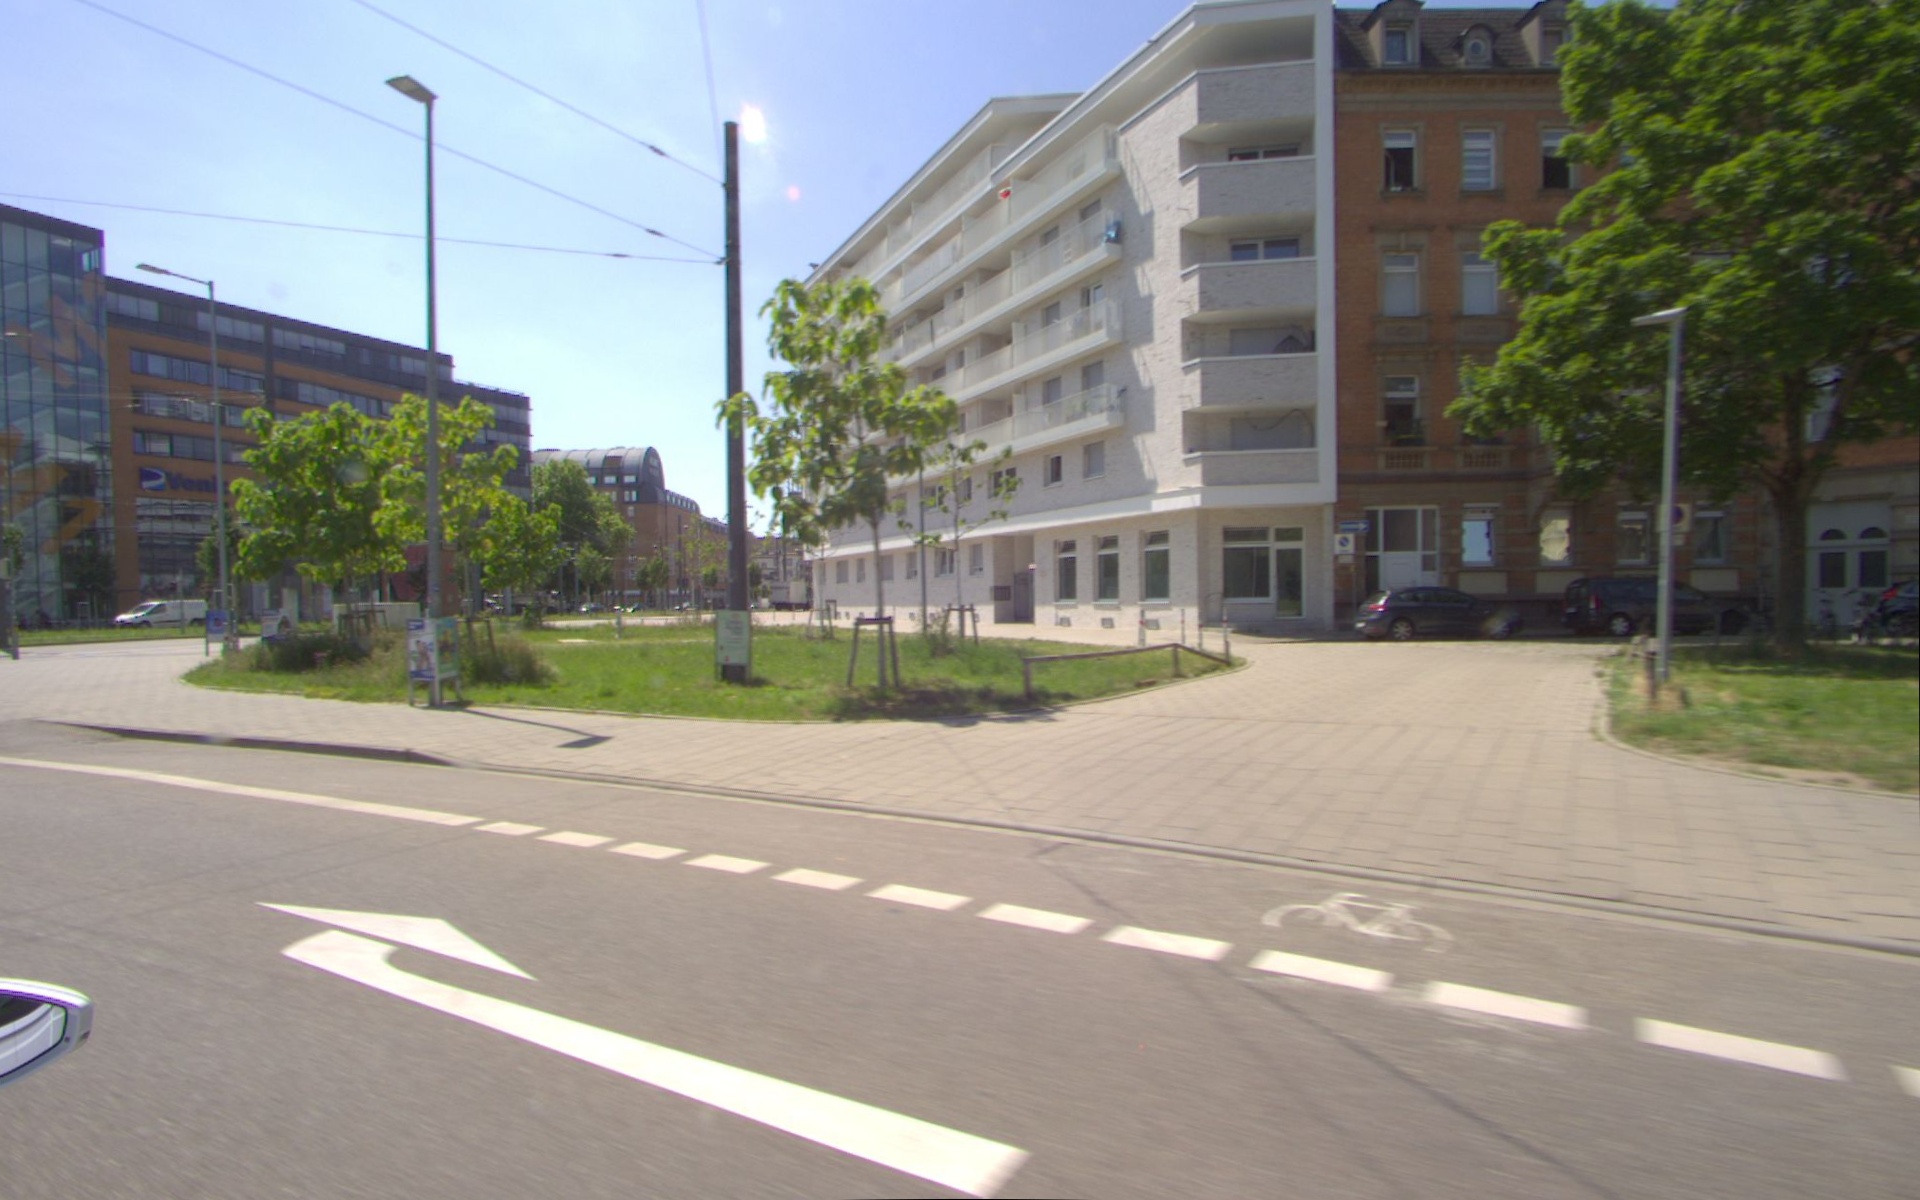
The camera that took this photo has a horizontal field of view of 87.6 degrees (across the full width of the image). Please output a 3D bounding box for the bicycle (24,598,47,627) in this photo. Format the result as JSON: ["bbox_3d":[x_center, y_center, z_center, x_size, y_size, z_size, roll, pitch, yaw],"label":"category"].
[{"bbox_3d":[-65.125,0.851,70.510,2.310,2.040,0.484,0,0,28],"label":"bicycle"}]

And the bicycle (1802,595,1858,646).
[{"bbox_3d":[16.776,0.390,19.345,0.501,0.948,2.040,1,0,32],"label":"bicycle"}]

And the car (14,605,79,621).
[{"bbox_3d":[-62.071,0.897,68.098,1.327,1.049,2.995,0,0,23],"label":"car"}]

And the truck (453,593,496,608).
[{"bbox_3d":[-70.185,0.075,144.785,5.275,2.040,1.882,0,0,1],"label":"truck"}]

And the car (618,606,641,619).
[{"bbox_3d":[-42.085,1.587,127.623,1.651,1.550,4.000,0,0,-2],"label":"car"}]

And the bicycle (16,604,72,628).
[{"bbox_3d":[-63.355,1.104,69.291,0.694,1.578,2.847,1,0,28],"label":"bicycle"}]

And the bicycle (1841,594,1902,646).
[{"bbox_3d":[17.327,0.375,19.075,0.501,0.948,2.040,1,0,32],"label":"bicycle"}]

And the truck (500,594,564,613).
[{"bbox_3d":[-65.387,0.556,153.052,9.060,2.846,2.000,0,0,5],"label":"truck"}]

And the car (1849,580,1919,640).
[{"bbox_3d":[24.116,0.248,23.887,1.751,1.439,3.982,1,0,-28],"label":"car"}]

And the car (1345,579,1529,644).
[{"bbox_3d":[12.572,0.297,26.596,4.050,1.646,1.695,0,0,3],"label":"car"}]

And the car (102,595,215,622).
[{"bbox_3d":[-51.619,0.544,64.633,1.965,1.690,5.469,0,0,20],"label":"car"}]

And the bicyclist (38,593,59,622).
[{"bbox_3d":[-63.226,0.527,69.457,0.736,2.040,0.911,1,0,28],"label":"bicyclist"}]

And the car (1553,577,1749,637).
[{"bbox_3d":[18.576,0.191,27.065,4.002,1.550,1.777,0,0,3],"label":"car"}]

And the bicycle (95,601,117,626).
[{"bbox_3d":[-62.867,1.012,73.732,2.224,1.820,0.484,0,0,28],"label":"bicycle"}]

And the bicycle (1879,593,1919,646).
[{"bbox_3d":[17.678,0.354,18.631,0.501,0.948,2.040,1,0,32],"label":"bicycle"}]
